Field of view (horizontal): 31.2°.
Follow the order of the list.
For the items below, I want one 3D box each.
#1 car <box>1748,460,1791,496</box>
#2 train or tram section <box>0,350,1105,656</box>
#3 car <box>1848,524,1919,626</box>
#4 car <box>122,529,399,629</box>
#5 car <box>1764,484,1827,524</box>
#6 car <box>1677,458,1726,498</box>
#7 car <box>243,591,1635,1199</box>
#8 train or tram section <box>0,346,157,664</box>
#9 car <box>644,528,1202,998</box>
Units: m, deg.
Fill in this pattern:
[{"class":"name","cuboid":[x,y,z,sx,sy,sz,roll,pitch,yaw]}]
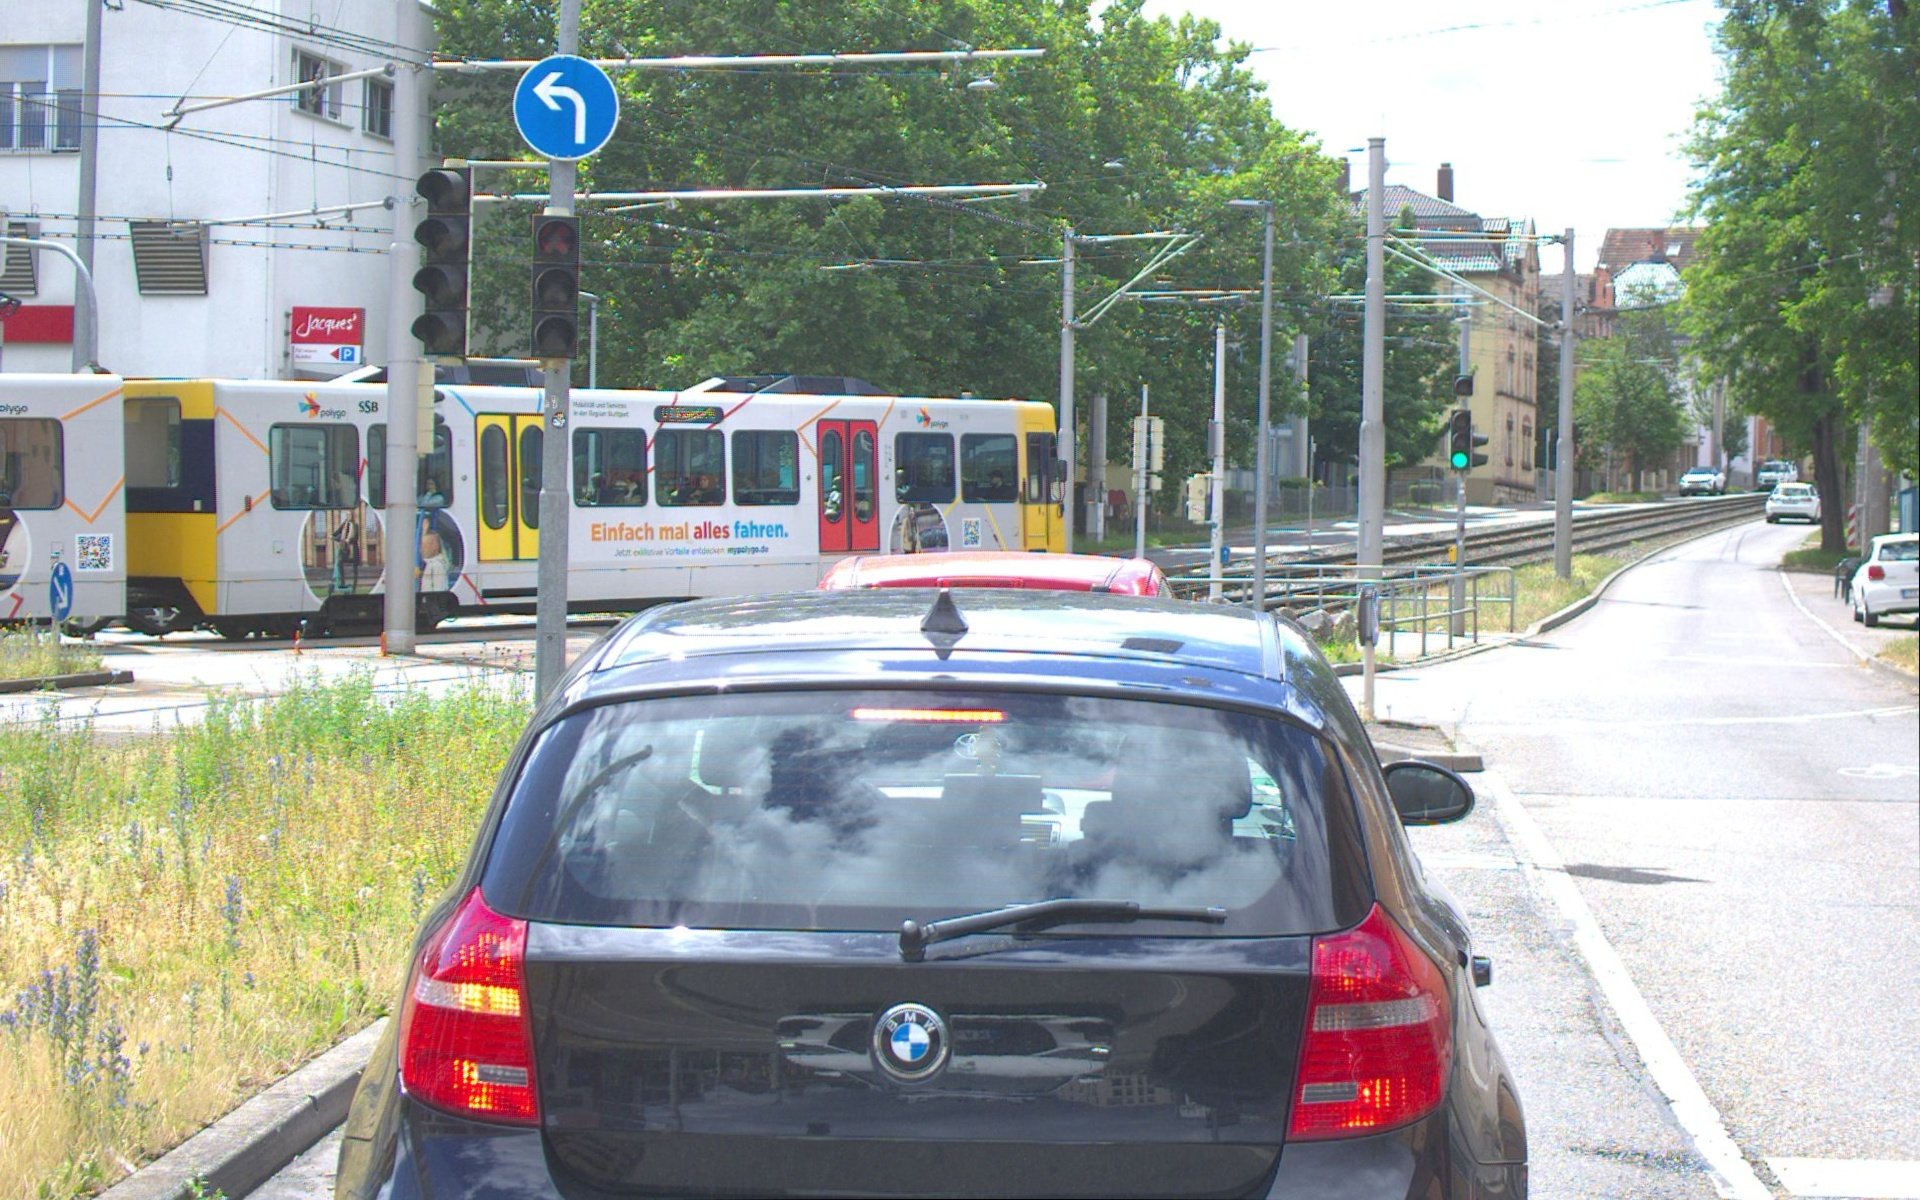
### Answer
[{"class":"car","cuboid":[48.745,-7.357,207.030,1.996,2.007,3.996,0,0,21]},{"class":"train or tram section","cuboid":[-5.219,-1.275,51.720,3.757,3.801,20.006,0,0,38]},{"class":"car","cuboid":[15.424,-0.405,55.882,1.788,1.590,3.998,0,0,13]},{"class":"car","cuboid":[-11.522,-0.347,56.782,1.857,1.579,4.159,0,0,45]},{"class":"car","cuboid":[31.165,-3.562,128.141,1.817,1.463,3.996,0,1,20]},{"class":"car","cuboid":[40.511,-6.653,187.733,1.996,2.007,3.996,0,0,21]},{"class":"car","cuboid":[-0.112,0.715,6.209,1.701,1.447,4.000,0,0,-3]},{"class":"train or tram section","cuboid":[-19.819,-1.086,39.217,20.567,3.866,3.761,-1,0,-31]},{"class":"car","cuboid":[0.016,0.506,12.818,1.625,1.468,3.999,0,0,6]}]
